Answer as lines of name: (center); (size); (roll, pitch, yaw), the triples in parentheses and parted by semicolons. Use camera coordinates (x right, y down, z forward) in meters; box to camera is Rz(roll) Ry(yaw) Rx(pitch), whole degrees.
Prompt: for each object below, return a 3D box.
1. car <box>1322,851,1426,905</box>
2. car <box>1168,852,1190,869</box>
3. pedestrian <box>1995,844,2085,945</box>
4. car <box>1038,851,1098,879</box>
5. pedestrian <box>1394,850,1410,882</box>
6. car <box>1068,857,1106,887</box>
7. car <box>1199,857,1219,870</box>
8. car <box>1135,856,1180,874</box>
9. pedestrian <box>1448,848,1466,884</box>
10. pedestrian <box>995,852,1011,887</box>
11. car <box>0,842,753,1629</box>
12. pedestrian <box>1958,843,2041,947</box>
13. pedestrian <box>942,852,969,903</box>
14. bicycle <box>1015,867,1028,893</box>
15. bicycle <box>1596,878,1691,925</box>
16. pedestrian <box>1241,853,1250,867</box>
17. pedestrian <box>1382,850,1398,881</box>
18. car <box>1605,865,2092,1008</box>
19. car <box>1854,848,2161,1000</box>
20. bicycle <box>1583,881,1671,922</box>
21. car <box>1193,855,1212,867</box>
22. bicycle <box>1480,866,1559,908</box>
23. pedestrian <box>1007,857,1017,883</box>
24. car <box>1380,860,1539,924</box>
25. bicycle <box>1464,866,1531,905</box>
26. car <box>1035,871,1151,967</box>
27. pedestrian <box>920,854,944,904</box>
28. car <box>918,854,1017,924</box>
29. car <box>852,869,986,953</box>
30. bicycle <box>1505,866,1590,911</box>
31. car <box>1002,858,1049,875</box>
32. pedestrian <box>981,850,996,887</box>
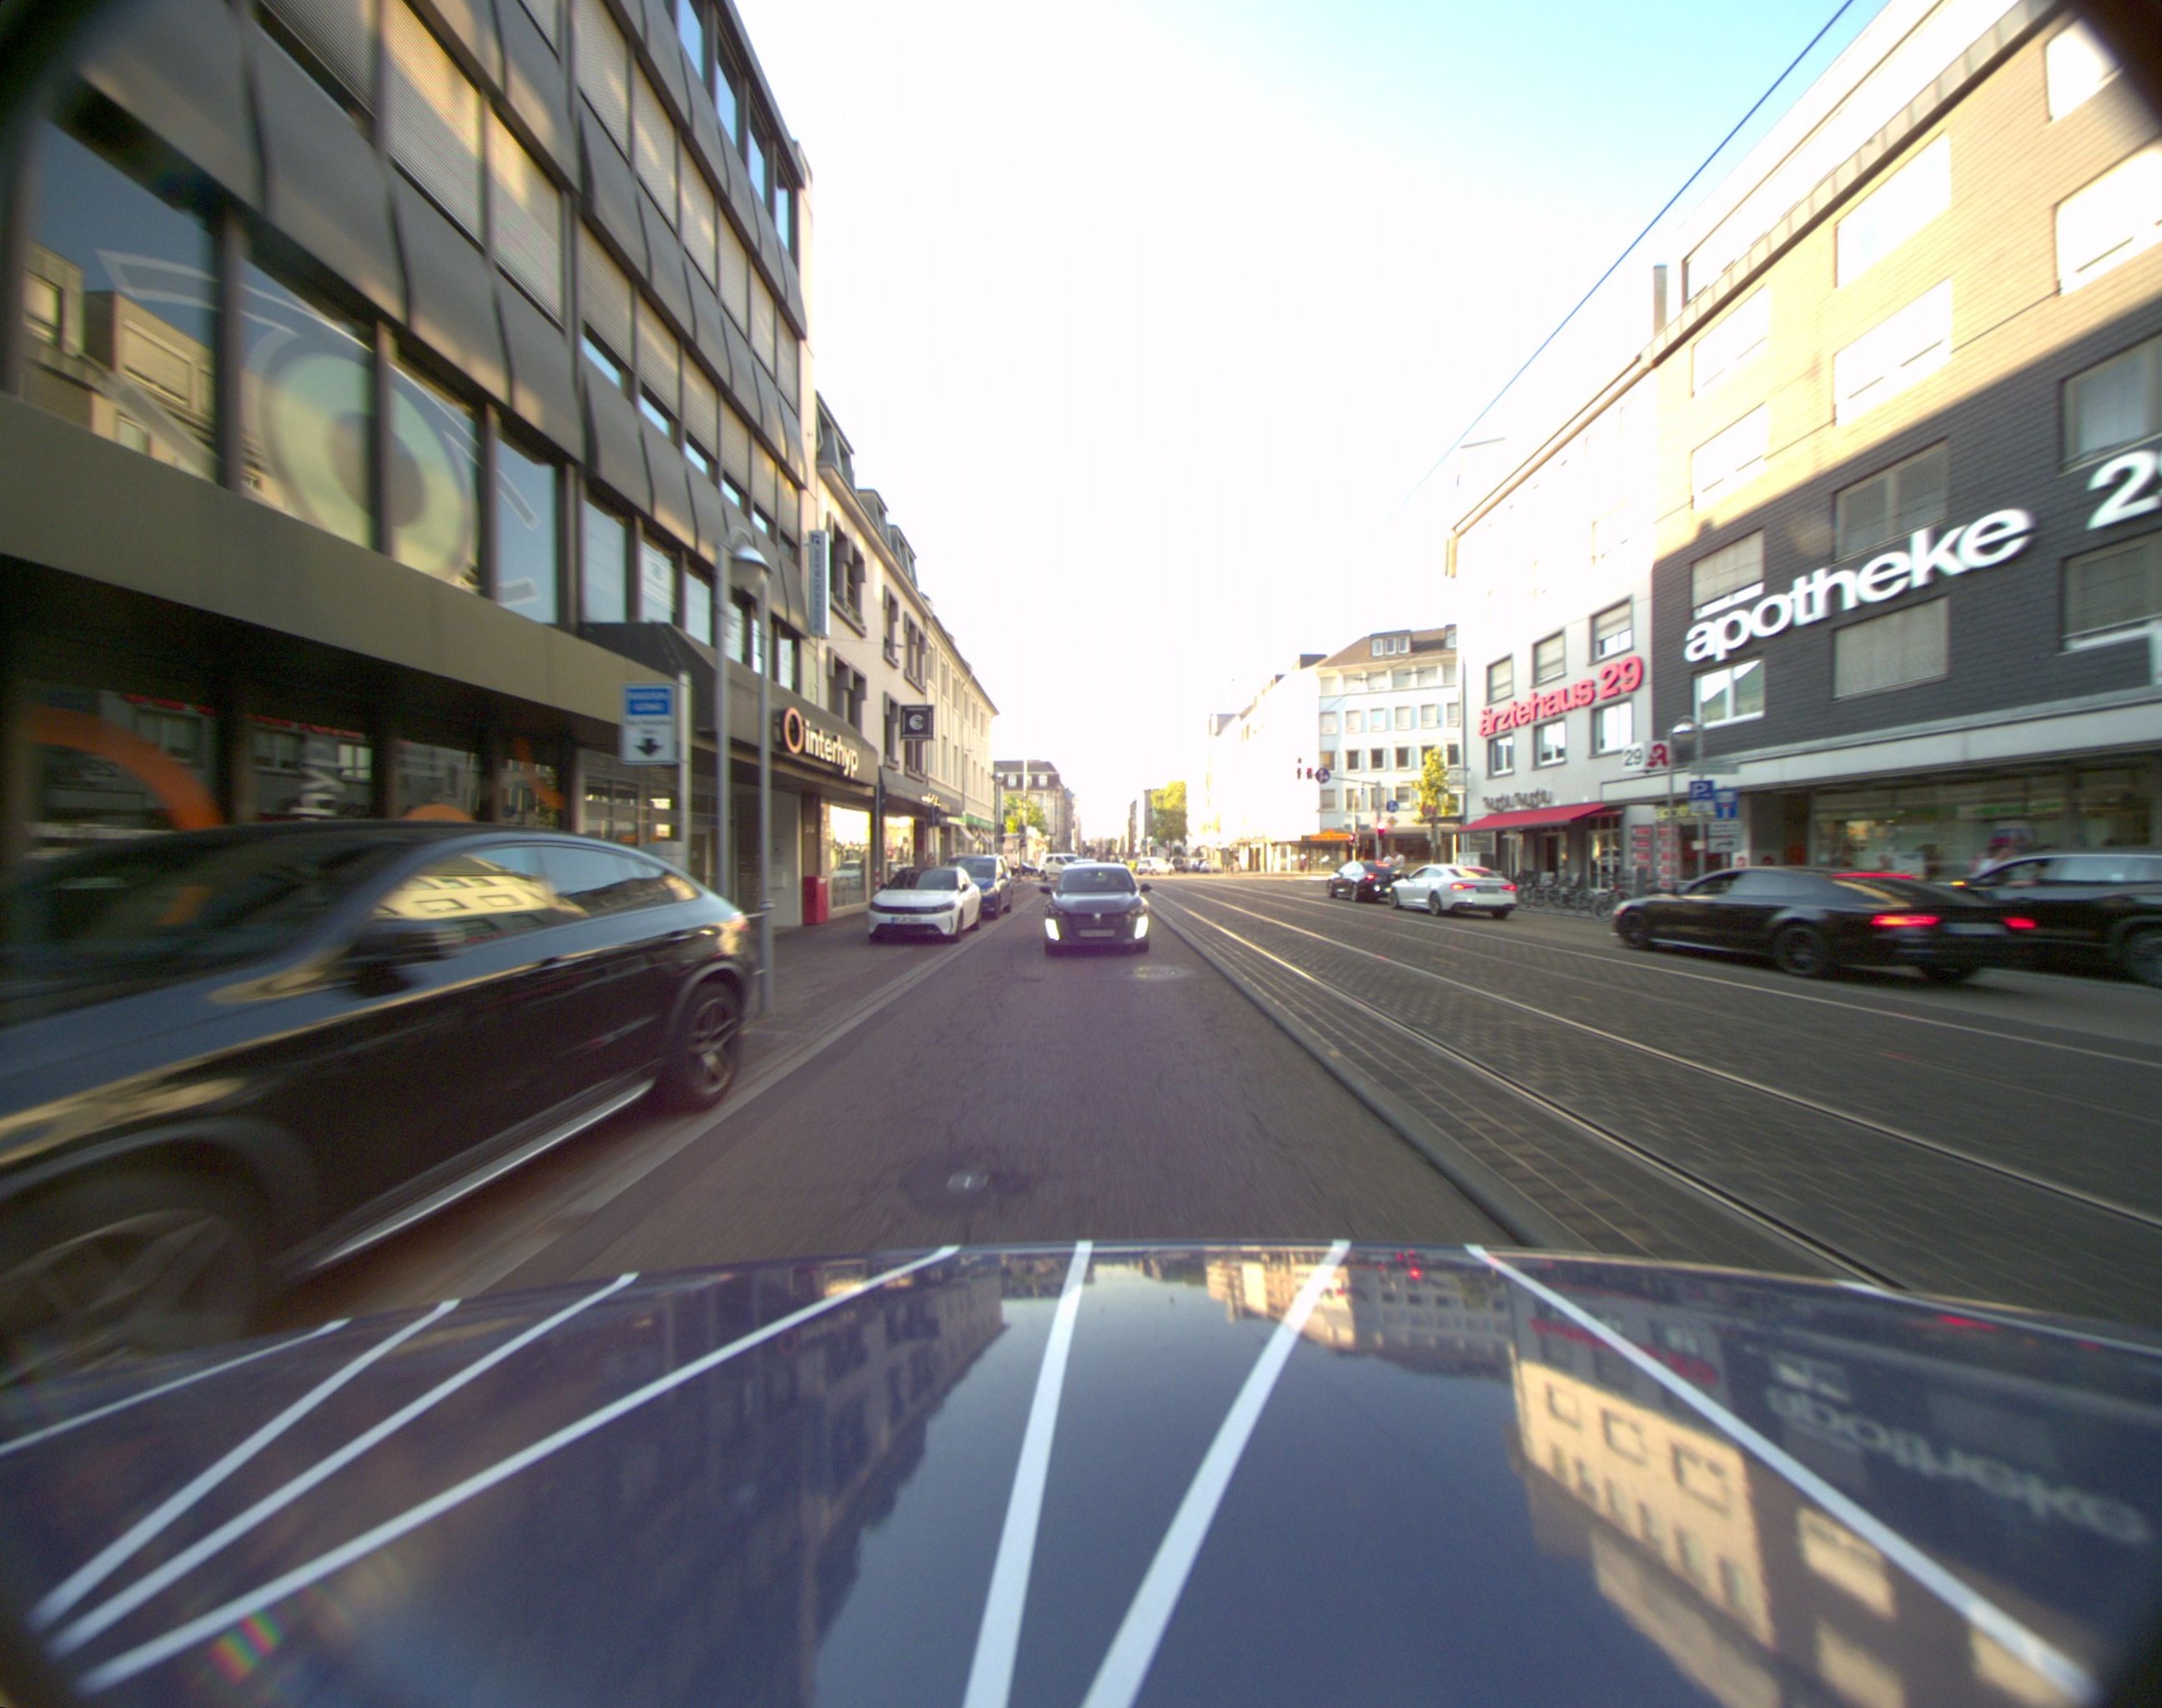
car: (10.314, 0.796, 27.145); (1.998, 1.717, 4.728); (1, 0, 2)
car: (10.526, 0.675, 81.526); (1.827, 1.688, 4.260); (0, 0, 1)
pedestrian: (16.052, 0.666, 12.734); (0.684, 1.651, 0.624); (-1, 0, 1)
car: (-0.899, 0.724, 51.206); (1.832, 1.787, 4.273); (-1, 0, -38)
pedestrian: (17.756, 0.652, 41.993); (0.638, 1.768, 0.600); (-1, 1, 3)
car: (0.257, 0.895, 40.070); (1.827, 1.463, 3.984); (-1, 0, -2)
car: (13.801, 1.049, 81.931); (1.636, 1.246, 3.389); (-3, -1, 1)
car: (6.737, 0.963, 66.716); (3.992, 1.463, 1.715); (-2, 1, -43)
pedestrian: (17.800, 0.576, 35.969); (0.712, 1.666, 0.704); (-1, 1, 25)
pedestrian: (-4.077, 0.812, 39.794); (0.739, 1.818, 0.850); (1, 0, -1)
car: (-3.328, 0.830, 3.004); (1.998, 1.717, 4.565); (0, 0, 1)
pedestrian: (15.357, 0.680, 12.720); (0.622, 1.689, 0.602); (-1, 0, 1)
pedestrian: (-4.526, 0.823, 27.388); (0.768, 1.795, 0.928); (1, 1, 2)
bicycle: (-2.730, 1.167, 34.908); (0.535, 1.140, 1.490); (0, 0, -1)
bicycle: (13.470, 1.131, 18.224); (1.835, 1.041, 0.489); (-3, -1, 1)
pedestrian: (17.554, 0.656, 81.026); (0.544, 1.463, 0.624); (-4, 0, -15)
pedestrian: (17.087, 0.633, 42.017); (0.638, 1.734, 0.669); (-1, 1, 3)
car: (9.822, 0.916, 10.460); (1.998, 1.444, 4.649); (1, 0, 0)
car: (13.190, 0.784, 9.748); (1.935, 1.664, 4.647); (-2, 0, 3)
bicycle: (13.646, 1.179, 19.025); (1.809, 0.907, 0.456); (-3, -1, 1)
car: (13.838, 0.797, 86.542); (1.636, 1.345, 3.389); (-3, -1, 1)
bicycle: (13.825, 1.034, 23.958); (2.117, 1.217, 0.553); (-3, 0, 1)
pedestrian: (-4.735, 1.093, 52.195); (0.694, 1.732, 0.653); (-1, 0, -6)
car: (10.148, 0.944, 20.851); (1.998, 1.444, 4.655); (1, 0, 0)
bicycle: (13.970, 1.037, 25.498); (1.895, 1.204, 0.553); (-3, 0, 1)
car: (0.233, 1.025, 13.413); (1.751, 1.434, 3.907); (0, -1, 2)
pedestrian: (-5.213, 0.867, 26.686); (0.651, 1.708, 0.678); (2, 1, 2)
car: (-3.044, 0.872, 21.374); (1.998, 1.717, 4.576); (1, 0, 1)
car: (-3.123, 1.049, 15.451); (1.800, 1.424, 3.887); (1, 0, 1)
bicycle: (13.861, 1.029, 22.591); (2.117, 1.217, 0.553); (-3, 0, 1)
car: (-4.481, 0.986, 61.806); (3.485, 1.326, 1.599); (0, 0, 9)
pedestrian: (-4.853, 0.754, 39.824); (0.663, 1.916, 0.879); (0, 1, -1)
